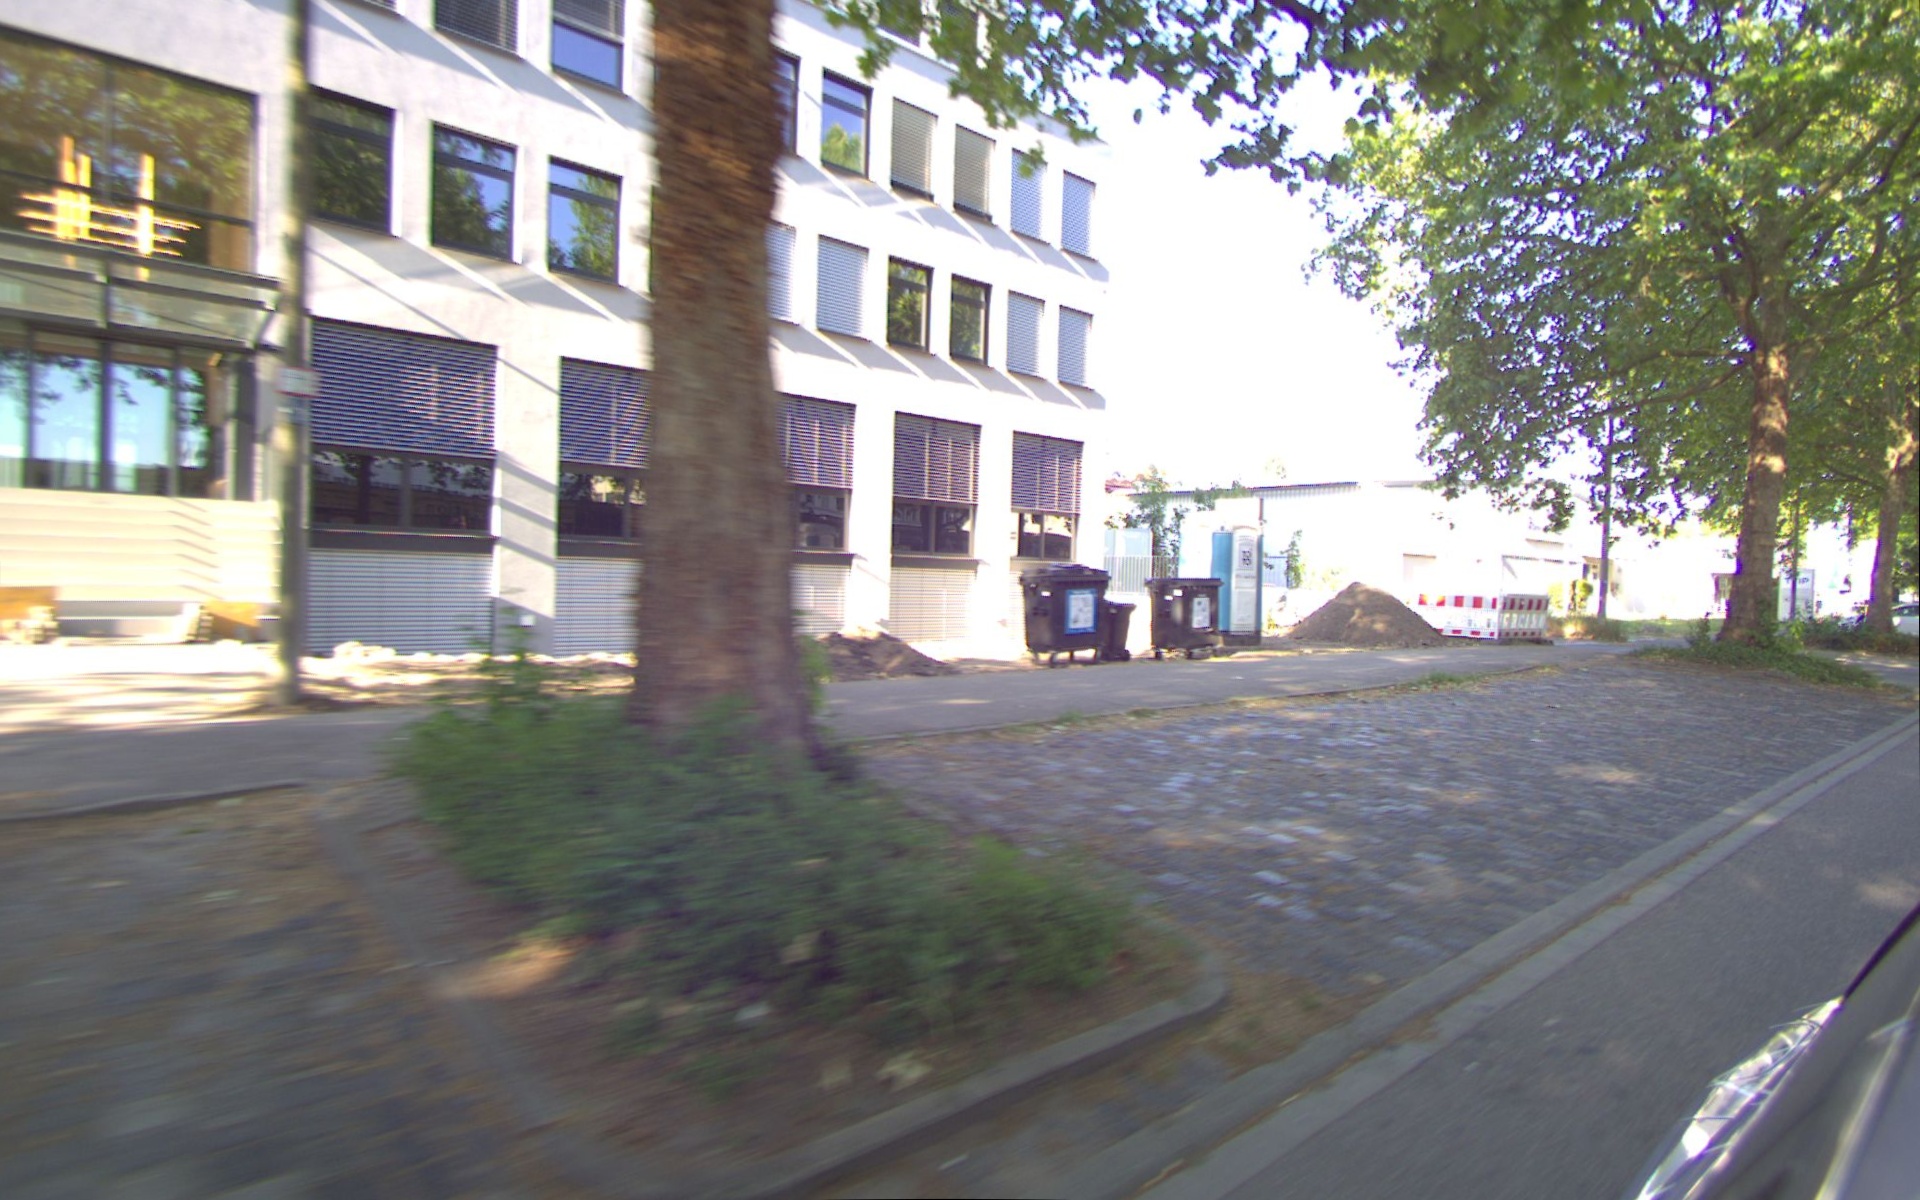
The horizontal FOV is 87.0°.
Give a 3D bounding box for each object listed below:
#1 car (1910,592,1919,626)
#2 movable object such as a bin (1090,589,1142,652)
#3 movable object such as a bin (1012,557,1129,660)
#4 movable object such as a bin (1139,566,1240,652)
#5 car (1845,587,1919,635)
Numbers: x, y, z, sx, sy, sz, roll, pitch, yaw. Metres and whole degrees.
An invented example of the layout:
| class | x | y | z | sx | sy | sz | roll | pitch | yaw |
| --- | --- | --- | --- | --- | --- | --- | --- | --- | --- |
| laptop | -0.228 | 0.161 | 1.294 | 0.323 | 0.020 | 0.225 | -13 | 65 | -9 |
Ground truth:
| class | x | y | z | sx | sy | sz | roll | pitch | yaw |
| --- | --- | --- | --- | --- | --- | --- | --- | --- | --- |
| car | 44.258 | 0.547 | 43.862 | 4.396 | 1.435 | 1.968 | 6 | 5 | 45 |
| movable object such as a bin | 2.302 | 0.290 | 14.934 | 0.589 | 0.911 | 0.493 | -1 | 0 | -42 |
| movable object such as a bin | 1.573 | 0.104 | 14.276 | 1.592 | 1.367 | 0.749 | -1 | 0 | -41 |
| movable object such as a bin | 3.619 | 0.127 | 15.887 | 1.583 | 1.279 | 0.749 | -1 | 0 | -41 |
| car | 33.875 | 0.446 | 35.546 | 1.638 | 1.531 | 3.943 | -1 | 4 | -40 |
